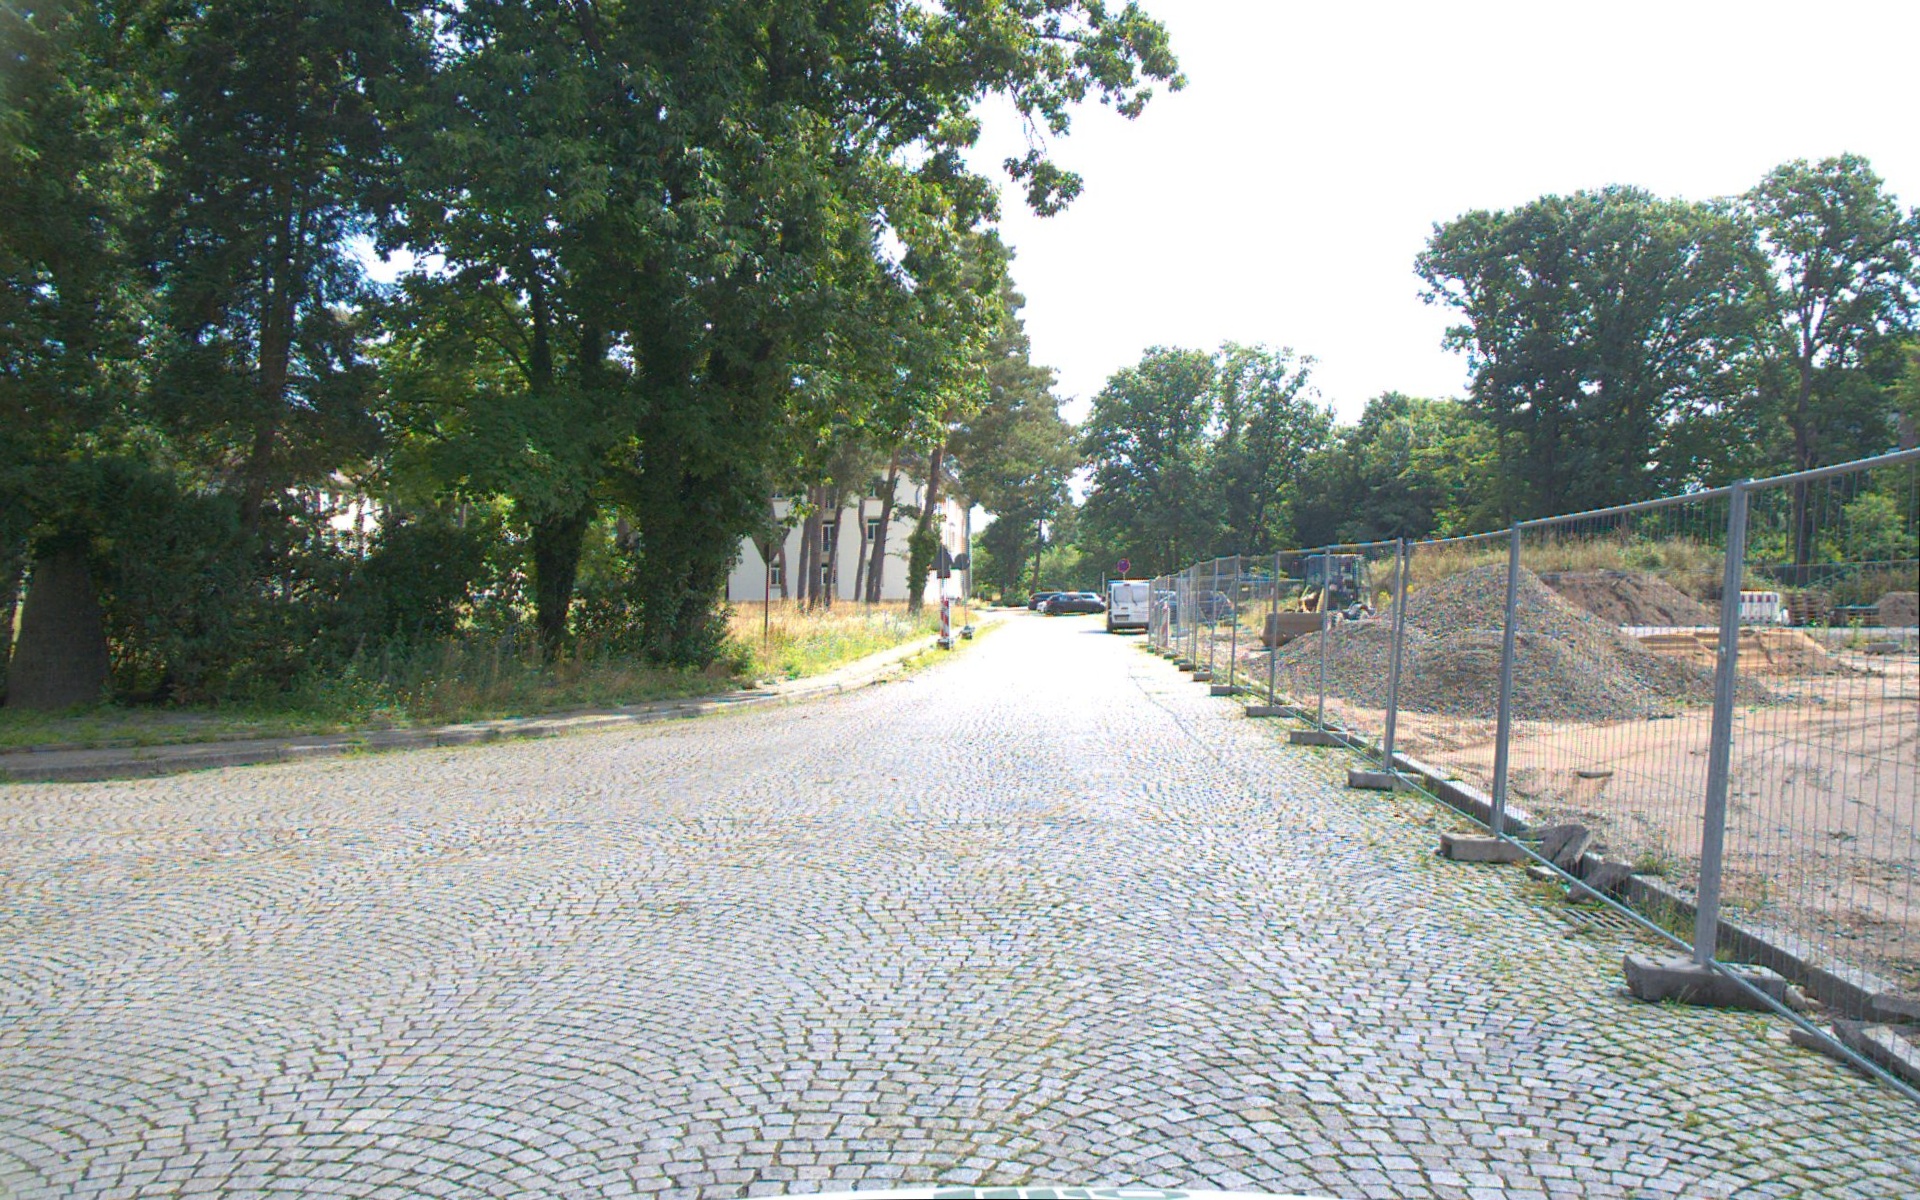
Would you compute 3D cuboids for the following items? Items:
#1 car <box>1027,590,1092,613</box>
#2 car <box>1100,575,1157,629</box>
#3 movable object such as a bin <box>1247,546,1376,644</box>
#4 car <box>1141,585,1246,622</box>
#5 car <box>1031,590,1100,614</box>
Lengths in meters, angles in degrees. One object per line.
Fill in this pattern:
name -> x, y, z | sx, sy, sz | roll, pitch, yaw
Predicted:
car -> 7.359, 0.073, 122.793 | 4.684, 1.669, 1.999 | 0, 0, -2
car -> 6.616, 0.082, 65.317 | 1.952, 2.049, 4.092 | 0, 0, 2
movable object such as a bin -> 10.048, -0.164, 47.045 | 2.090, 2.638, 4.779 | 0, 0, 32
car -> 9.995, 0.132, 70.668 | 4.308, 1.537, 2.002 | 1, 0, 11
car -> 7.428, 0.136, 116.387 | 4.684, 1.669, 1.999 | 0, 0, -2
